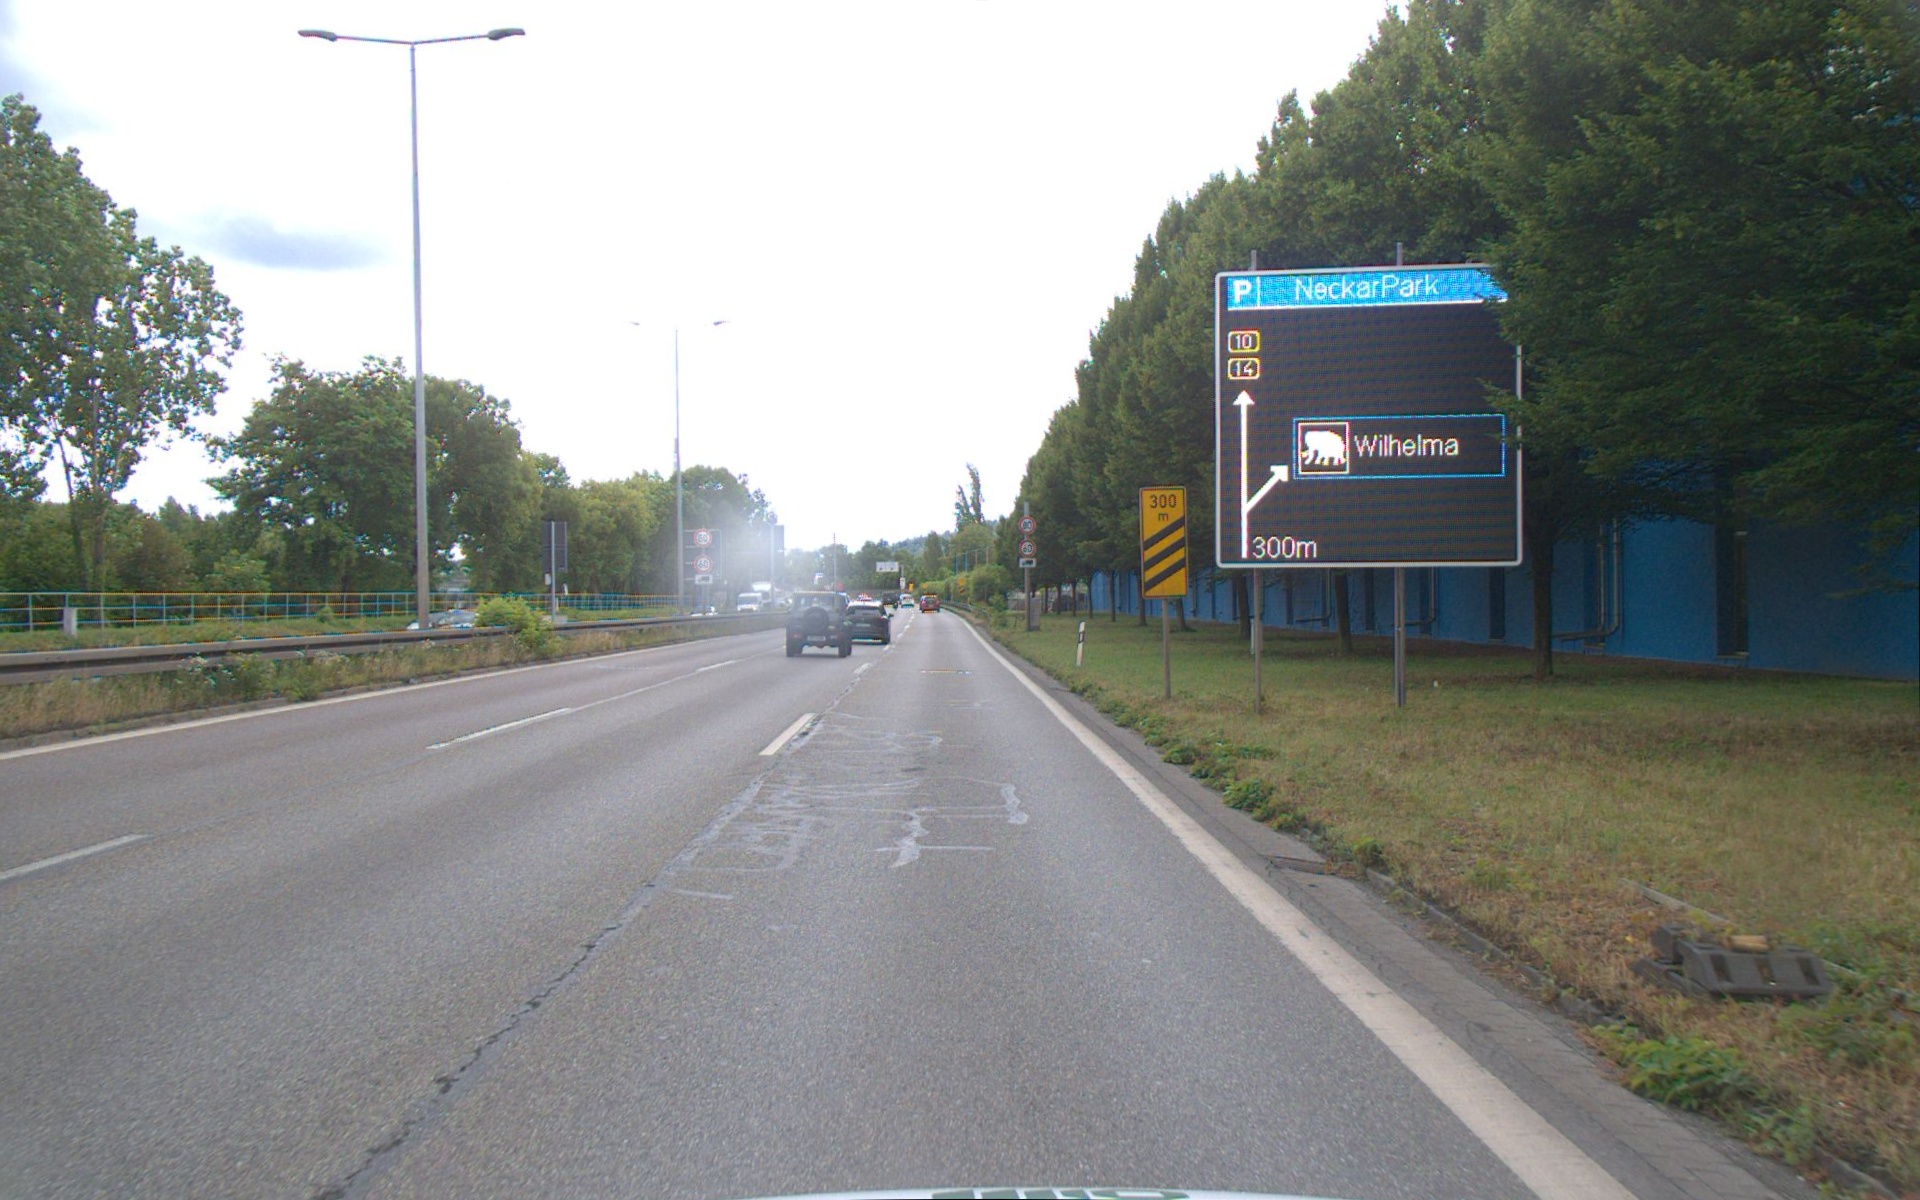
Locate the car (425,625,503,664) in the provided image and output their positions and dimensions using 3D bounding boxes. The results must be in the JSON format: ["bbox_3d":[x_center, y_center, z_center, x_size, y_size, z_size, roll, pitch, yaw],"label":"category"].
[{"bbox_3d":[-18.668,1.643,62.422,1.626,1.322,4.786,0,0,-2],"label":"car"}]

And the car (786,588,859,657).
[{"bbox_3d":[-3.686,0.582,44.854,1.663,1.715,3.999,2,0,-1],"label":"car"}]

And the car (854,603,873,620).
[{"bbox_3d":[-10.526,1.235,180.716,1.663,1.772,4.393,-2,0,0],"label":"car"}]

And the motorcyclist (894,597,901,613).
[{"bbox_3d":[-6.760,0.529,178.453,0.775,1.791,0.923,0,0,-1],"label":"motorcyclist"}]

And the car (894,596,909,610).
[{"bbox_3d":[-8.737,0.437,246.680,1.972,1.968,4.901,-2,0,1],"label":"car"}]

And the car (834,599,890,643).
[{"bbox_3d":[-3.454,0.736,58.931,1.808,1.448,4.898,-2,0,-2],"label":"car"}]

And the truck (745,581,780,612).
[{"bbox_3d":[-24.070,-0.392,201.689,2.829,3.641,9.588,-1,-1,1],"label":"truck"}]

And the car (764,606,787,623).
[{"bbox_3d":[-18.858,1.482,169.237,1.840,1.755,4.147,0,0,1],"label":"car"}]

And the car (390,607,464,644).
[{"bbox_3d":[-22.794,1.069,70.884,1.840,1.516,4.201,0,0,-1],"label":"car"}]

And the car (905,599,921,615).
[{"bbox_3d":[-5.946,0.851,208.564,1.973,1.968,4.898,-2,0,-2],"label":"car"}]

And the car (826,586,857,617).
[{"bbox_3d":[-7.084,0.092,99.136,1.663,1.772,3.999,1,0,-2],"label":"car"}]

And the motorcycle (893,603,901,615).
[{"bbox_3d":[-6.761,0.995,178.452,0.775,1.240,2.329,0,0,-1],"label":"motorcycle"}]

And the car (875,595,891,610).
[{"bbox_3d":[-10.440,0.386,223.930,1.973,1.968,4.898,-2,0,-2],"label":"car"}]

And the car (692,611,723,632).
[{"bbox_3d":[-17.902,1.502,117.295,1.625,1.423,3.988,0,0,-1],"label":"car"}]

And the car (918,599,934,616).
[{"bbox_3d":[-3.583,0.814,175.579,1.663,1.772,4.392,-1,0,0],"label":"car"}]

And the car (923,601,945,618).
[{"bbox_3d":[-2.479,0.901,154.435,1.935,1.448,4.898,-2,0,-2],"label":"car"}]

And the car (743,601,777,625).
[{"bbox_3d":[-17.531,1.123,145.163,2.180,1.982,5.474,-1,0,1],"label":"car"}]
